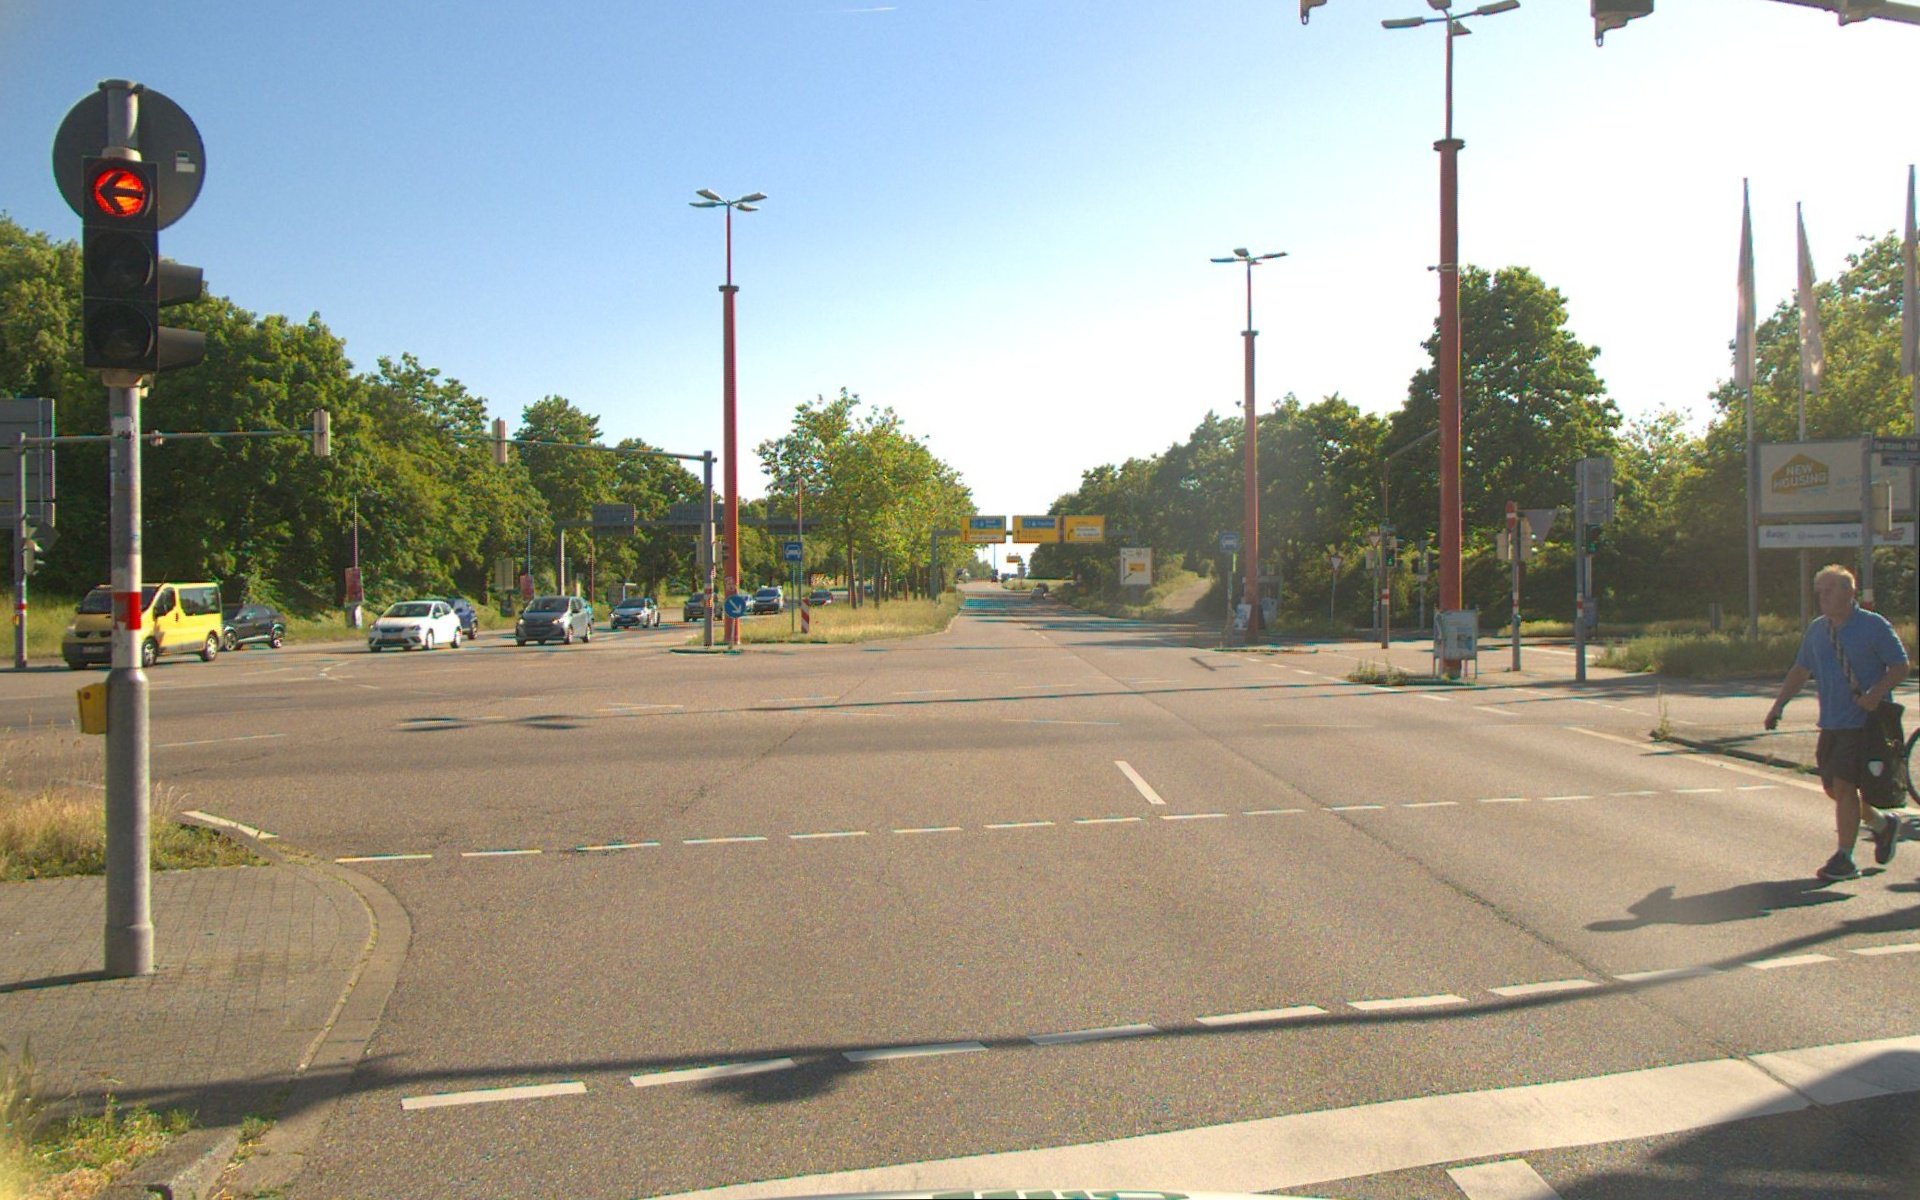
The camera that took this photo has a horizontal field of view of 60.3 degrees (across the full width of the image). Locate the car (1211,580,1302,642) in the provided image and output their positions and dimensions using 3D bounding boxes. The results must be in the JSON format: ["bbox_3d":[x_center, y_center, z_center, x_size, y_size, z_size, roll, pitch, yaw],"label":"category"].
[{"bbox_3d":[9.697,0.341,53.844,1.954,1.920,3.997,0,0,25],"label":"car"}]

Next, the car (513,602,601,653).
[{"bbox_3d":[-12.611,0.837,51.918,1.666,1.446,4.000,3,0,1],"label":"car"}]

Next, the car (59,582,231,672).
[{"bbox_3d":[-19.696,0.630,40.226,1.721,2.022,4.789,1,0,1],"label":"car"}]

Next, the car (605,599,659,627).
[{"bbox_3d":[-15.889,0.608,80.322,1.963,1.330,3.998,0,0,-2],"label":"car"}]

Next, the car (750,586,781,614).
[{"bbox_3d":[-14.841,0.028,126.332,1.963,2.049,3.998,1,0,-2],"label":"car"}]

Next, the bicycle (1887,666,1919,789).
[{"bbox_3d":[8.125,0.948,12.535,2.125,0.894,0.558,0,0,-14],"label":"bicycle"}]

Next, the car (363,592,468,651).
[{"bbox_3d":[-15.985,0.615,48.748,1.668,1.624,4.001,1,0,2],"label":"car"}]

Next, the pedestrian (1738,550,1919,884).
[{"bbox_3d":[5.210,0.633,9.617,0.880,1.820,0.893,0,0,-25],"label":"pedestrian"}]

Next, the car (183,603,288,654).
[{"bbox_3d":[-24.567,0.949,56.230,1.954,1.667,3.998,1,0,-3],"label":"car"}]

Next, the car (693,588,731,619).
[{"bbox_3d":[-14.785,0.209,98.648,1.592,1.769,4.001,0,0,1],"label":"car"}]

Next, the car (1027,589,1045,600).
[{"bbox_3d":[9.544,-0.685,208.536,2.012,1.395,4.391,0,0,-1],"label":"car"}]
